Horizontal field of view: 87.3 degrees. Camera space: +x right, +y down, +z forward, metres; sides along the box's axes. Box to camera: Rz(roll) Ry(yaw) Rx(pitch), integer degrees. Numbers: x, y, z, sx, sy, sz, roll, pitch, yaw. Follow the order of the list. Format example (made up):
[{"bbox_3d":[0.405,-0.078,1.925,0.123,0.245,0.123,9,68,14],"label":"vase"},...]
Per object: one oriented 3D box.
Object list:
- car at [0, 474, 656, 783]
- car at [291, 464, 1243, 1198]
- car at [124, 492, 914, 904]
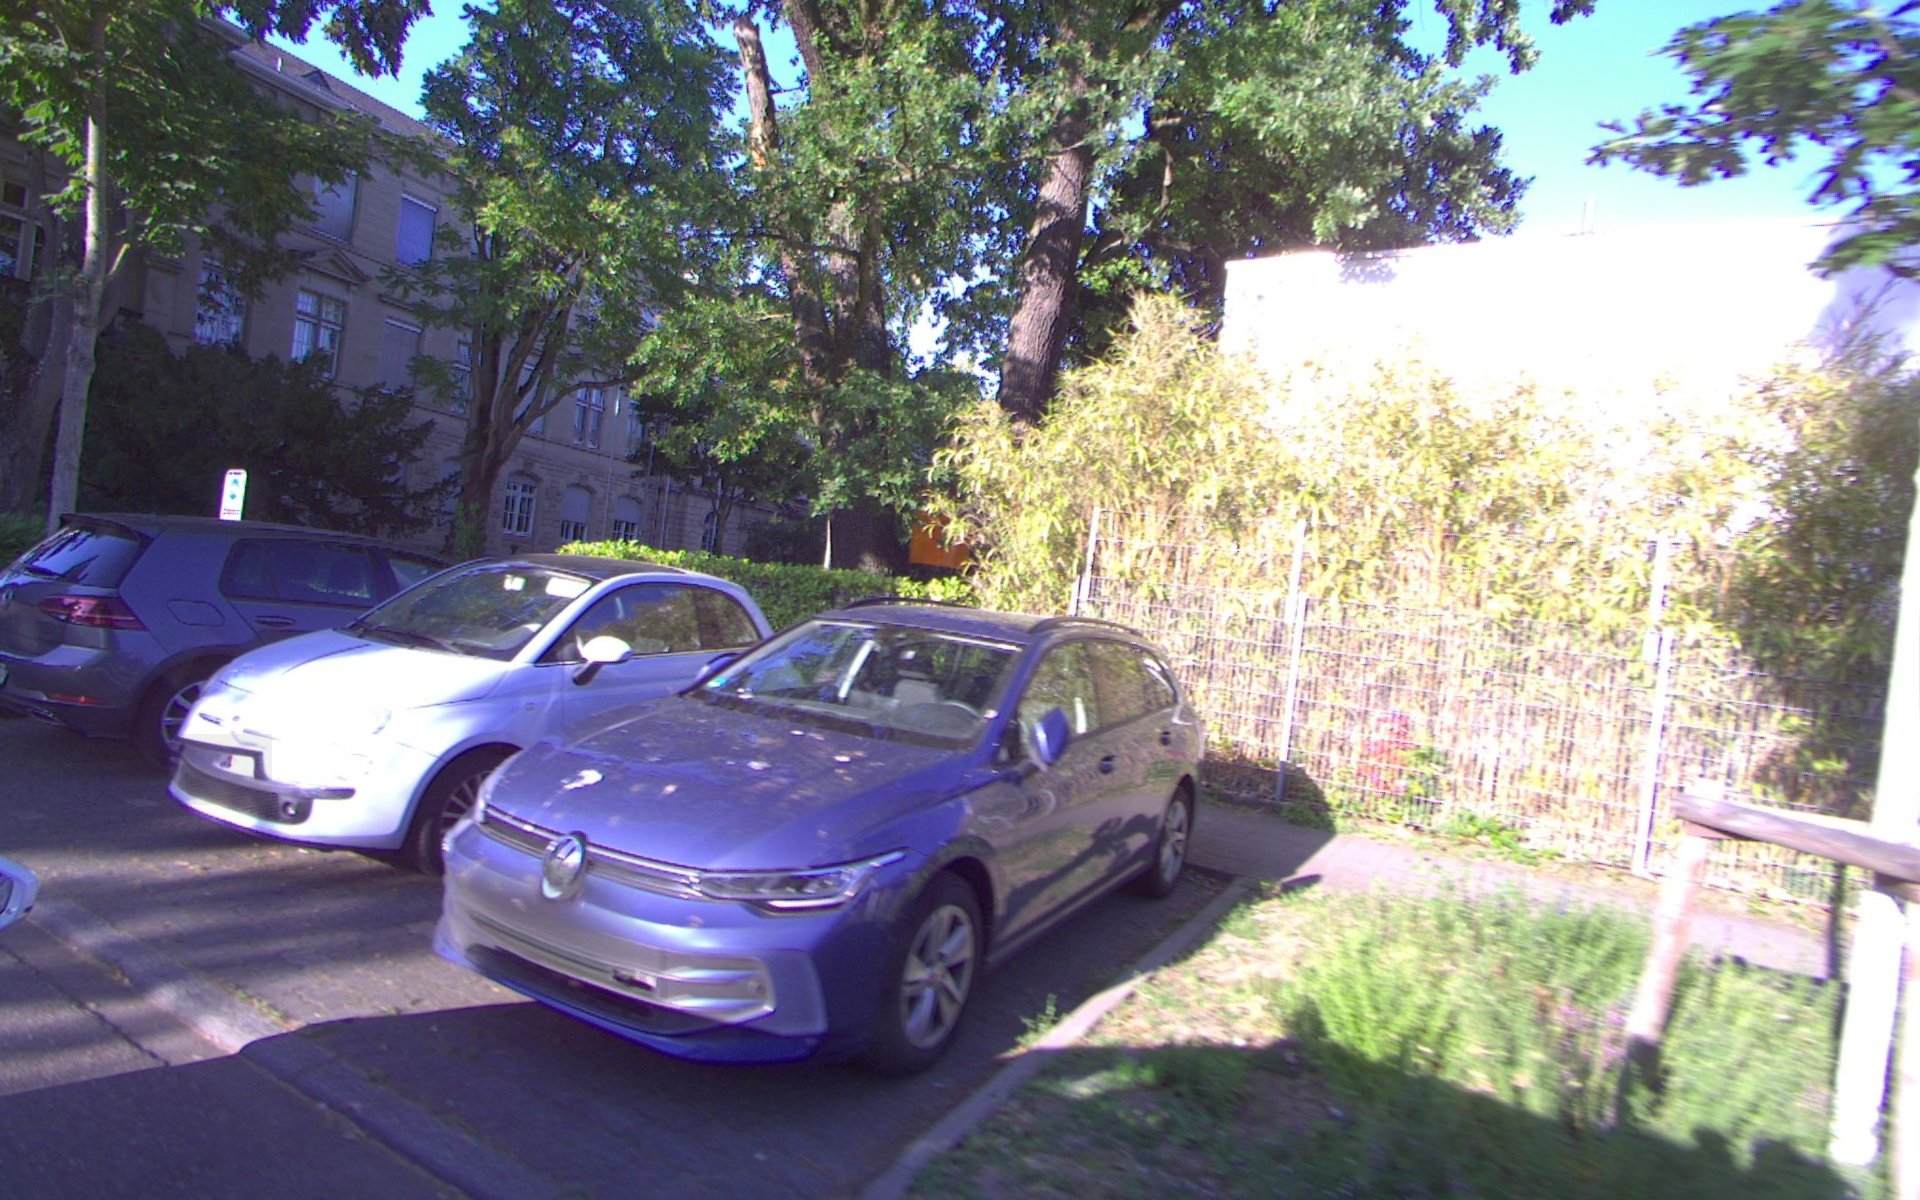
[{"bbox_3d":[-4.382,0.228,7.168,1.843,1.534,3.960,4,-2,31],"label":"car"},{"bbox_3d":[-0.151,0.631,4.680,1.858,1.568,4.503,7,-1,27],"label":"car"},{"bbox_3d":[-2.152,0.500,5.998,1.647,1.534,3.959,7,-1,33],"label":"car"}]
